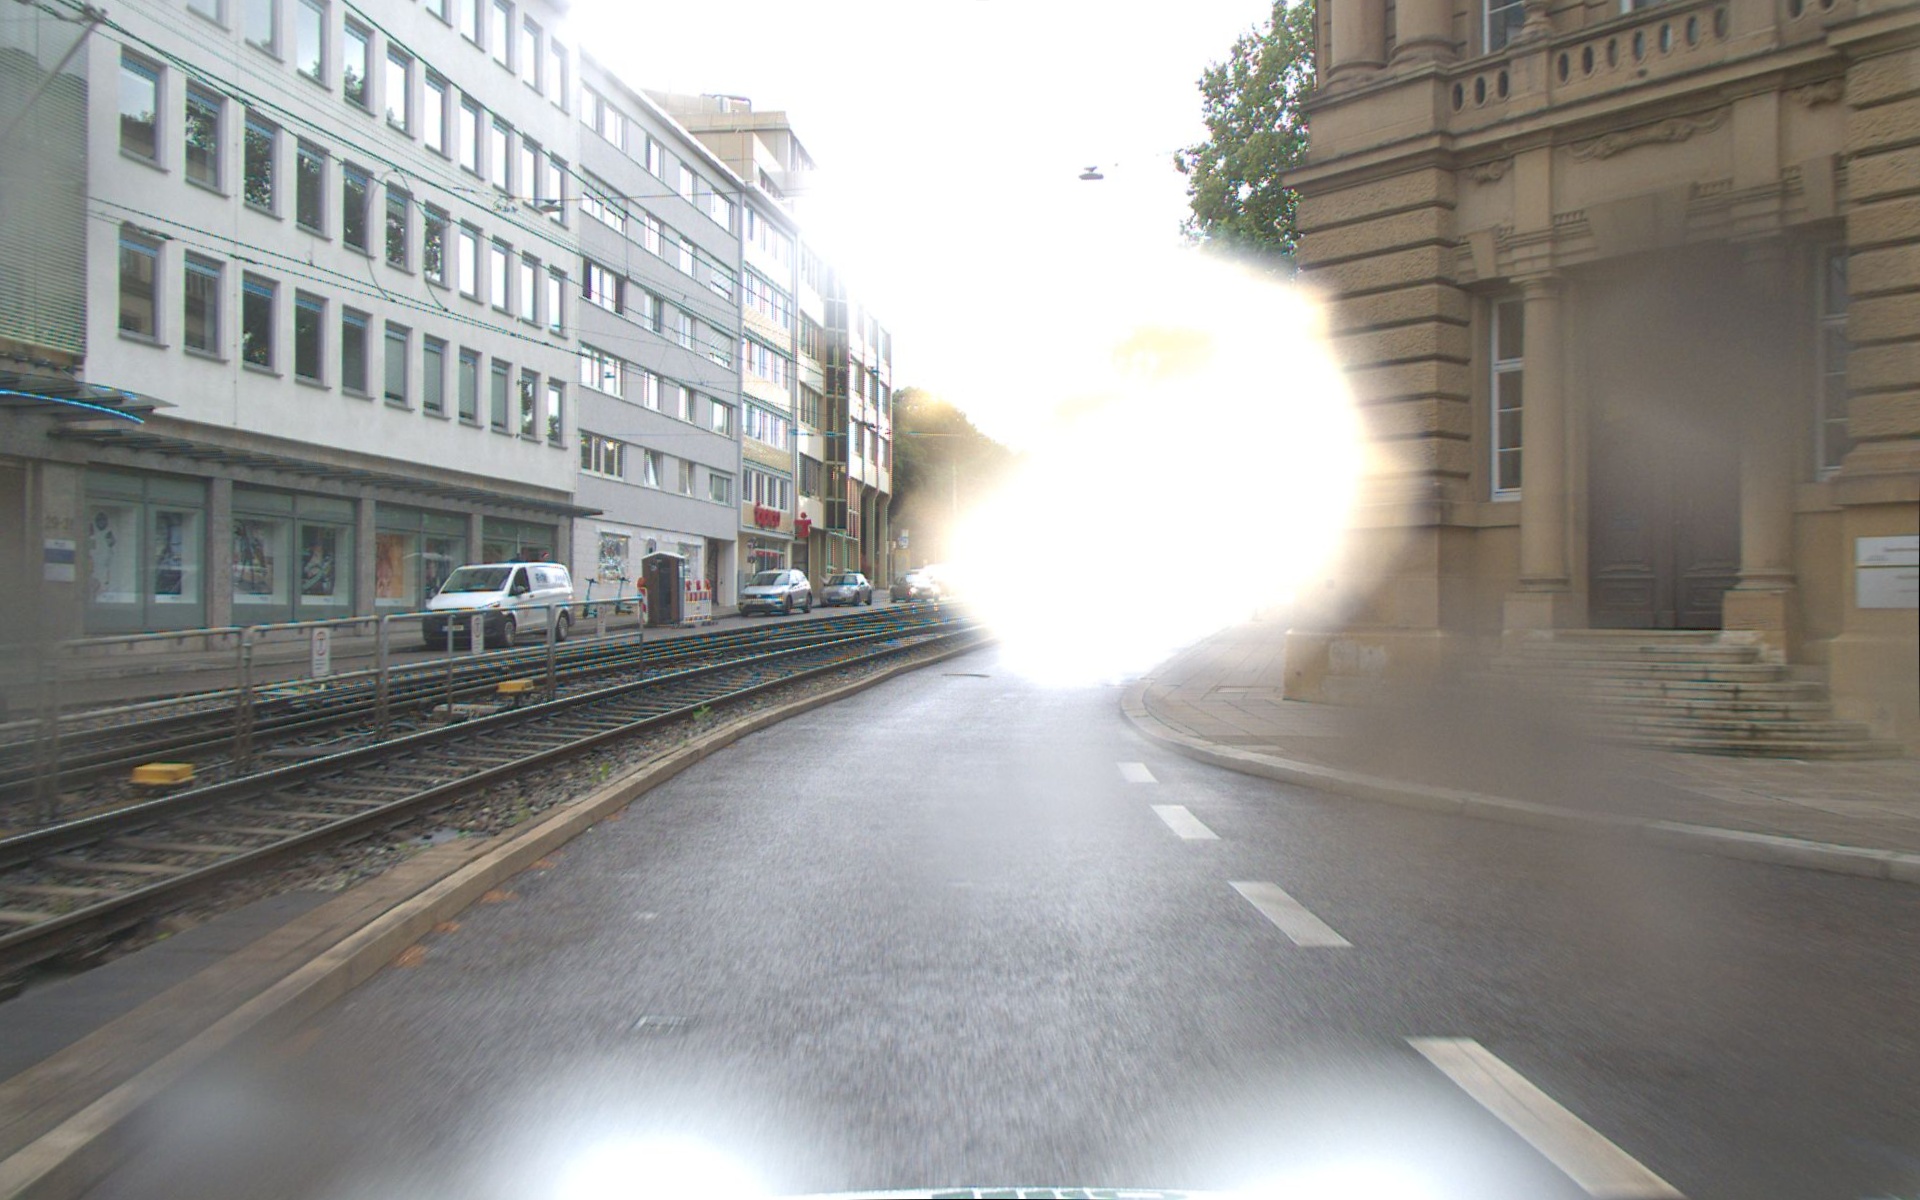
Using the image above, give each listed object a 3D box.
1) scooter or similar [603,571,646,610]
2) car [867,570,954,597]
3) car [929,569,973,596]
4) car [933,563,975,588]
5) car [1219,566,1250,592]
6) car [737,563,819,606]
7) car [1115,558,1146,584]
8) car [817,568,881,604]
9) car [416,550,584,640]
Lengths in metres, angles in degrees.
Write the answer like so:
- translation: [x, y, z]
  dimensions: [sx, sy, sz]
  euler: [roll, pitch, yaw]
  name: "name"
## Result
- translation: [-11.153, -0.321, 55.075]
  dimensions: [0.748, 1.241, 2.067]
  euler: [1, 1, 8]
  name: "scooter or similar"
- translation: [-2.368, -0.768, 77.777]
  dimensions: [1.980, 1.183, 4.252]
  euler: [0, 1, -38]
  name: "car"
- translation: [-0.485, -1.018, 94.646]
  dimensions: [1.951, 1.482, 4.315]
  euler: [1, 1, 8]
  name: "car"
- translation: [-0.360, -1.516, 101.264]
  dimensions: [1.951, 1.482, 4.315]
  euler: [1, 1, 8]
  name: "car"
- translation: [18.572, -1.427, 111.997]
  dimensions: [1.951, 1.691, 4.004]
  euler: [1, 1, 8]
  name: "car"
- translation: [-6.612, -0.574, 60.538]
  dimensions: [1.951, 1.482, 4.315]
  euler: [1, 1, 8]
  name: "car"
- translation: [11.826, -1.993, 114.430]
  dimensions: [1.951, 1.691, 4.004]
  euler: [1, 1, 8]
  name: "car"
- translation: [-4.856, -0.640, 72.710]
  dimensions: [1.951, 1.482, 4.315]
  euler: [1, 1, 8]
  name: "car"
- translation: [-10.551, -0.144, 38.379]
  dimensions: [1.951, 1.915, 4.931]
  euler: [1, 1, 8]
  name: "car"
